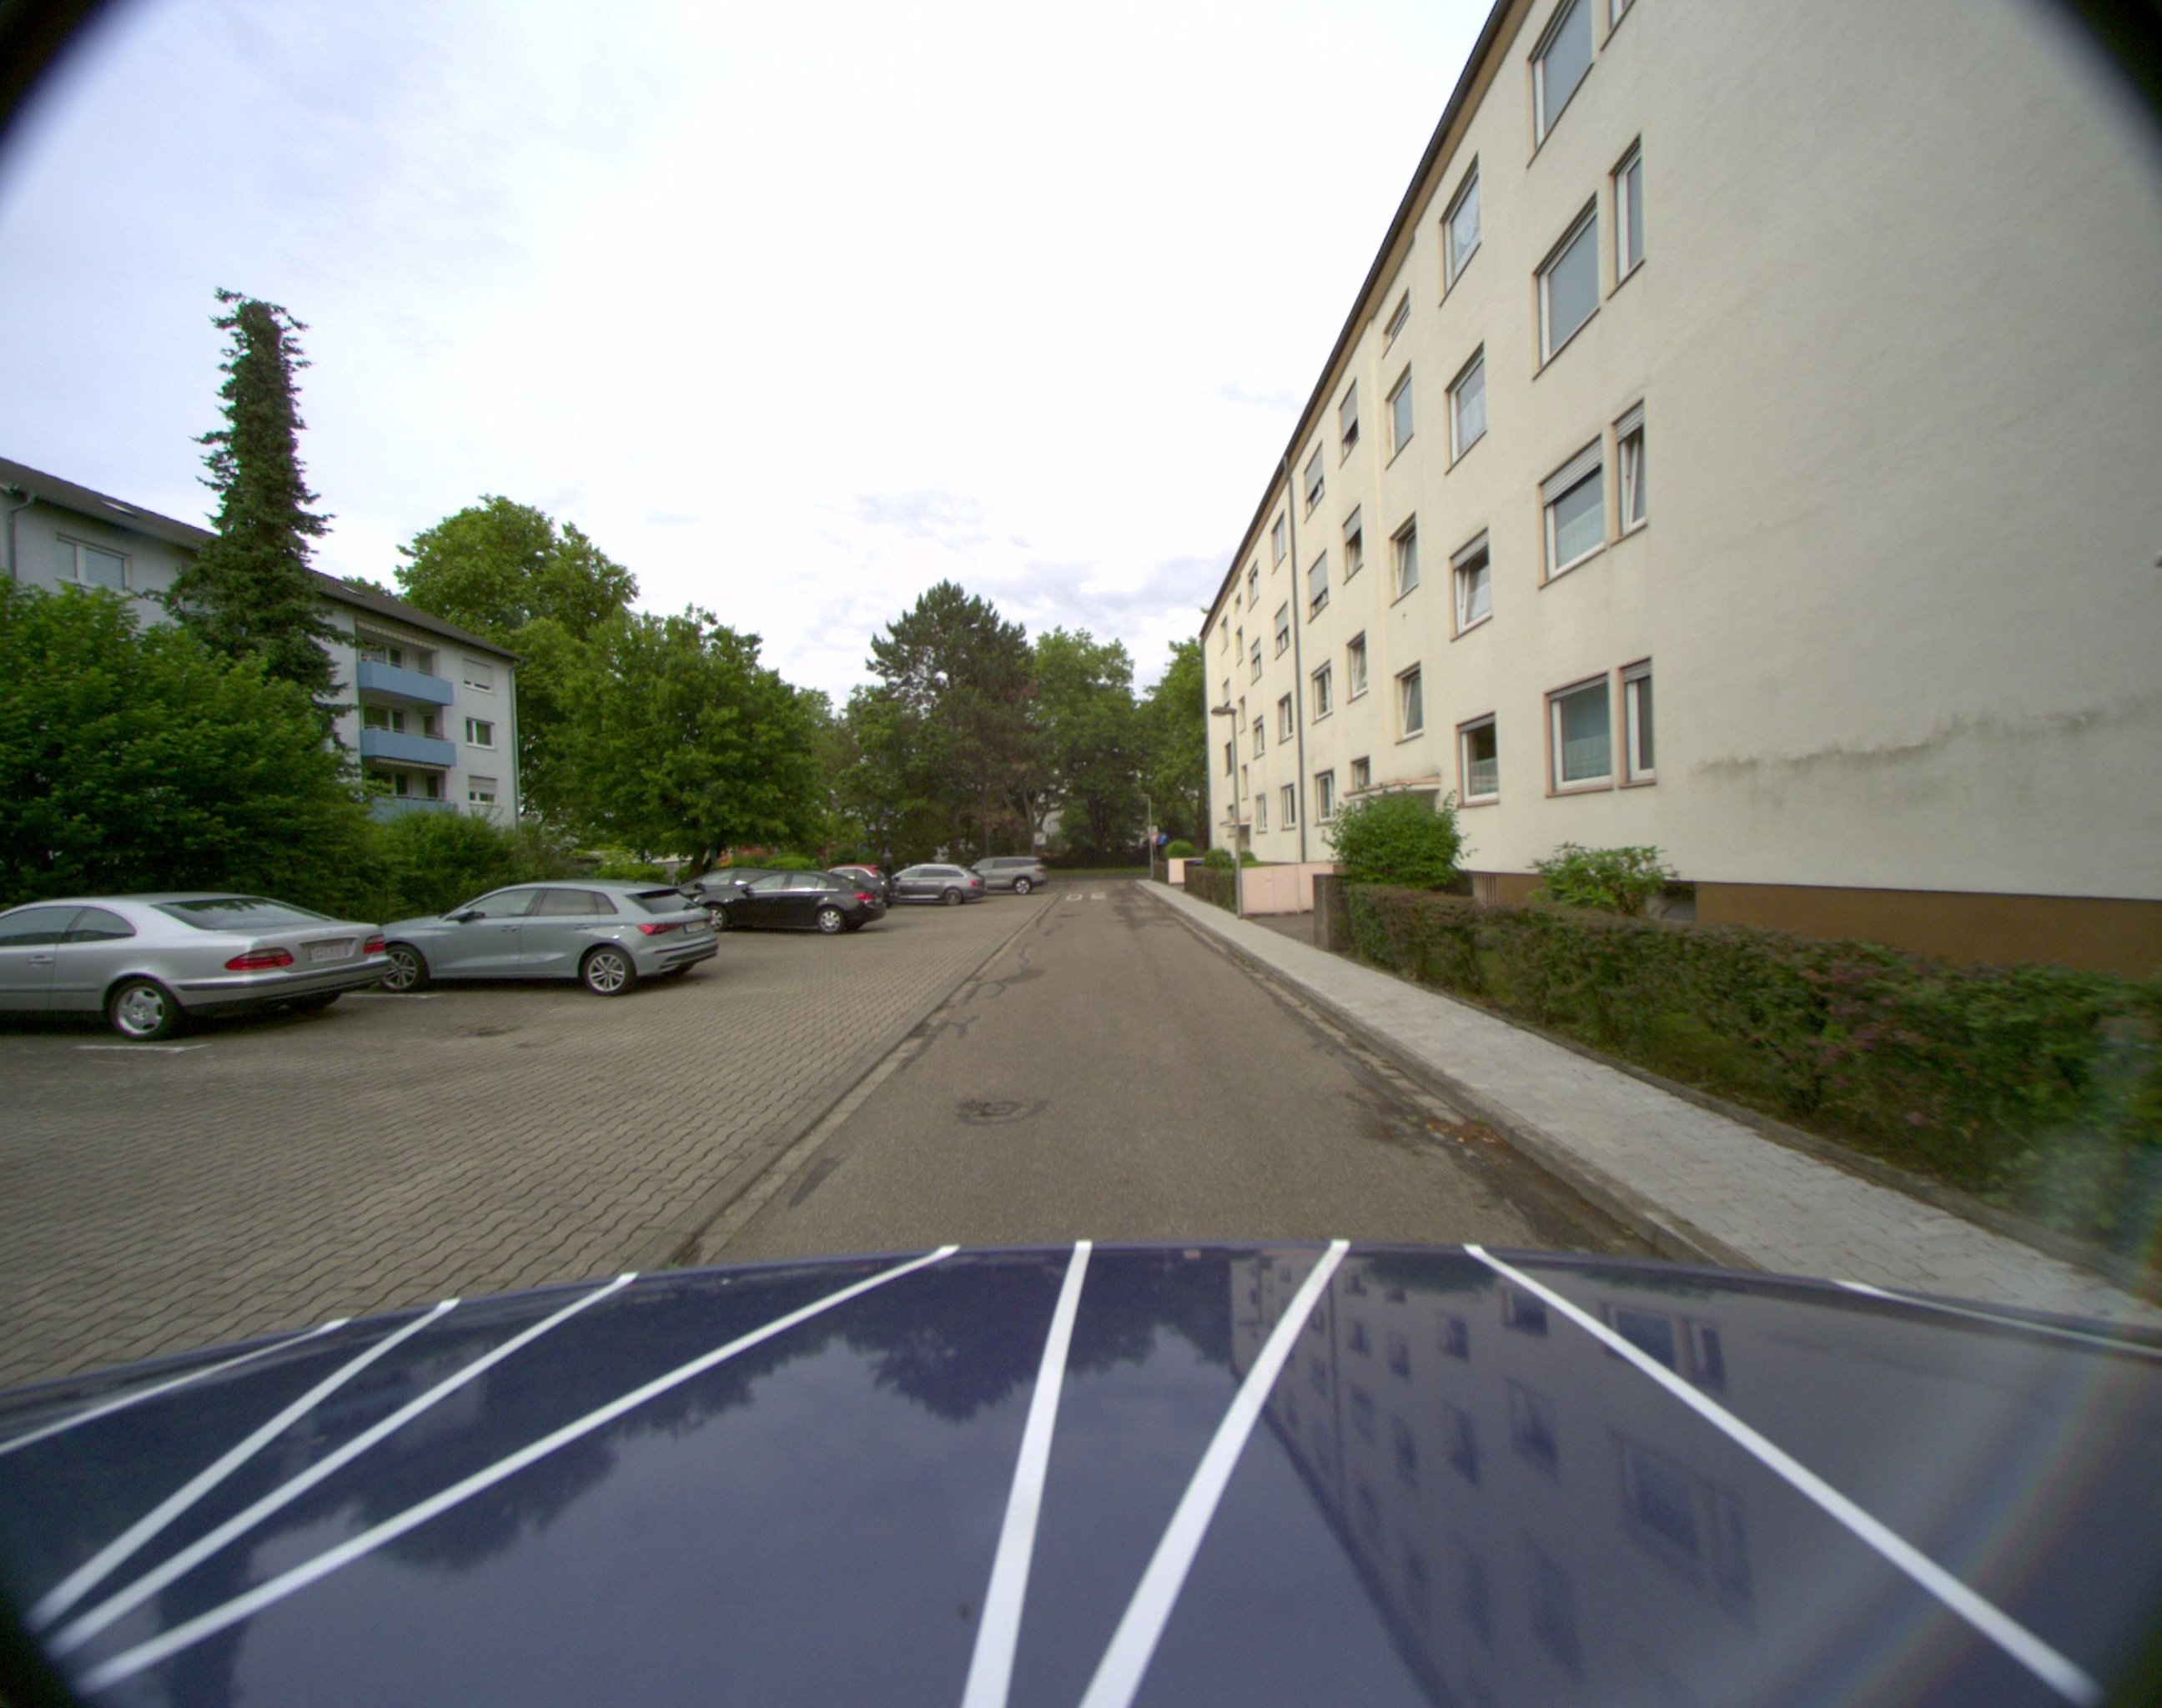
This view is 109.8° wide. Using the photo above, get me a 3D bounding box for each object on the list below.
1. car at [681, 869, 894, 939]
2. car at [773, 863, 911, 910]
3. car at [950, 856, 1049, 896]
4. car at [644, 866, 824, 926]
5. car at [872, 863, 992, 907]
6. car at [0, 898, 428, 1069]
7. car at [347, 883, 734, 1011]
[{"bbox_3d":[-6.859,1.143,18.063,4.334,1.476,1.788,1,0,1],"label":"car"},{"bbox_3d":[-8.105,1.089,26.011,4.103,1.476,1.788,1,0,1],"label":"car"},{"bbox_3d":[-3.547,0.960,33.561,4.104,1.636,1.787,-1,0,0],"label":"car"},{"bbox_3d":[-9.390,1.104,20.782,4.103,1.476,1.788,1,0,1],"label":"car"},{"bbox_3d":[-5.531,1.151,28.578,4.104,1.476,1.787,-1,0,0],"label":"car"},{"bbox_3d":[-9.886,1.258,7.871,4.403,1.377,2.026,-1,0,-1],"label":"car"},{"bbox_3d":[-7.162,1.199,10.398,3.976,1.426,1.731,-1,0,-1],"label":"car"}]
